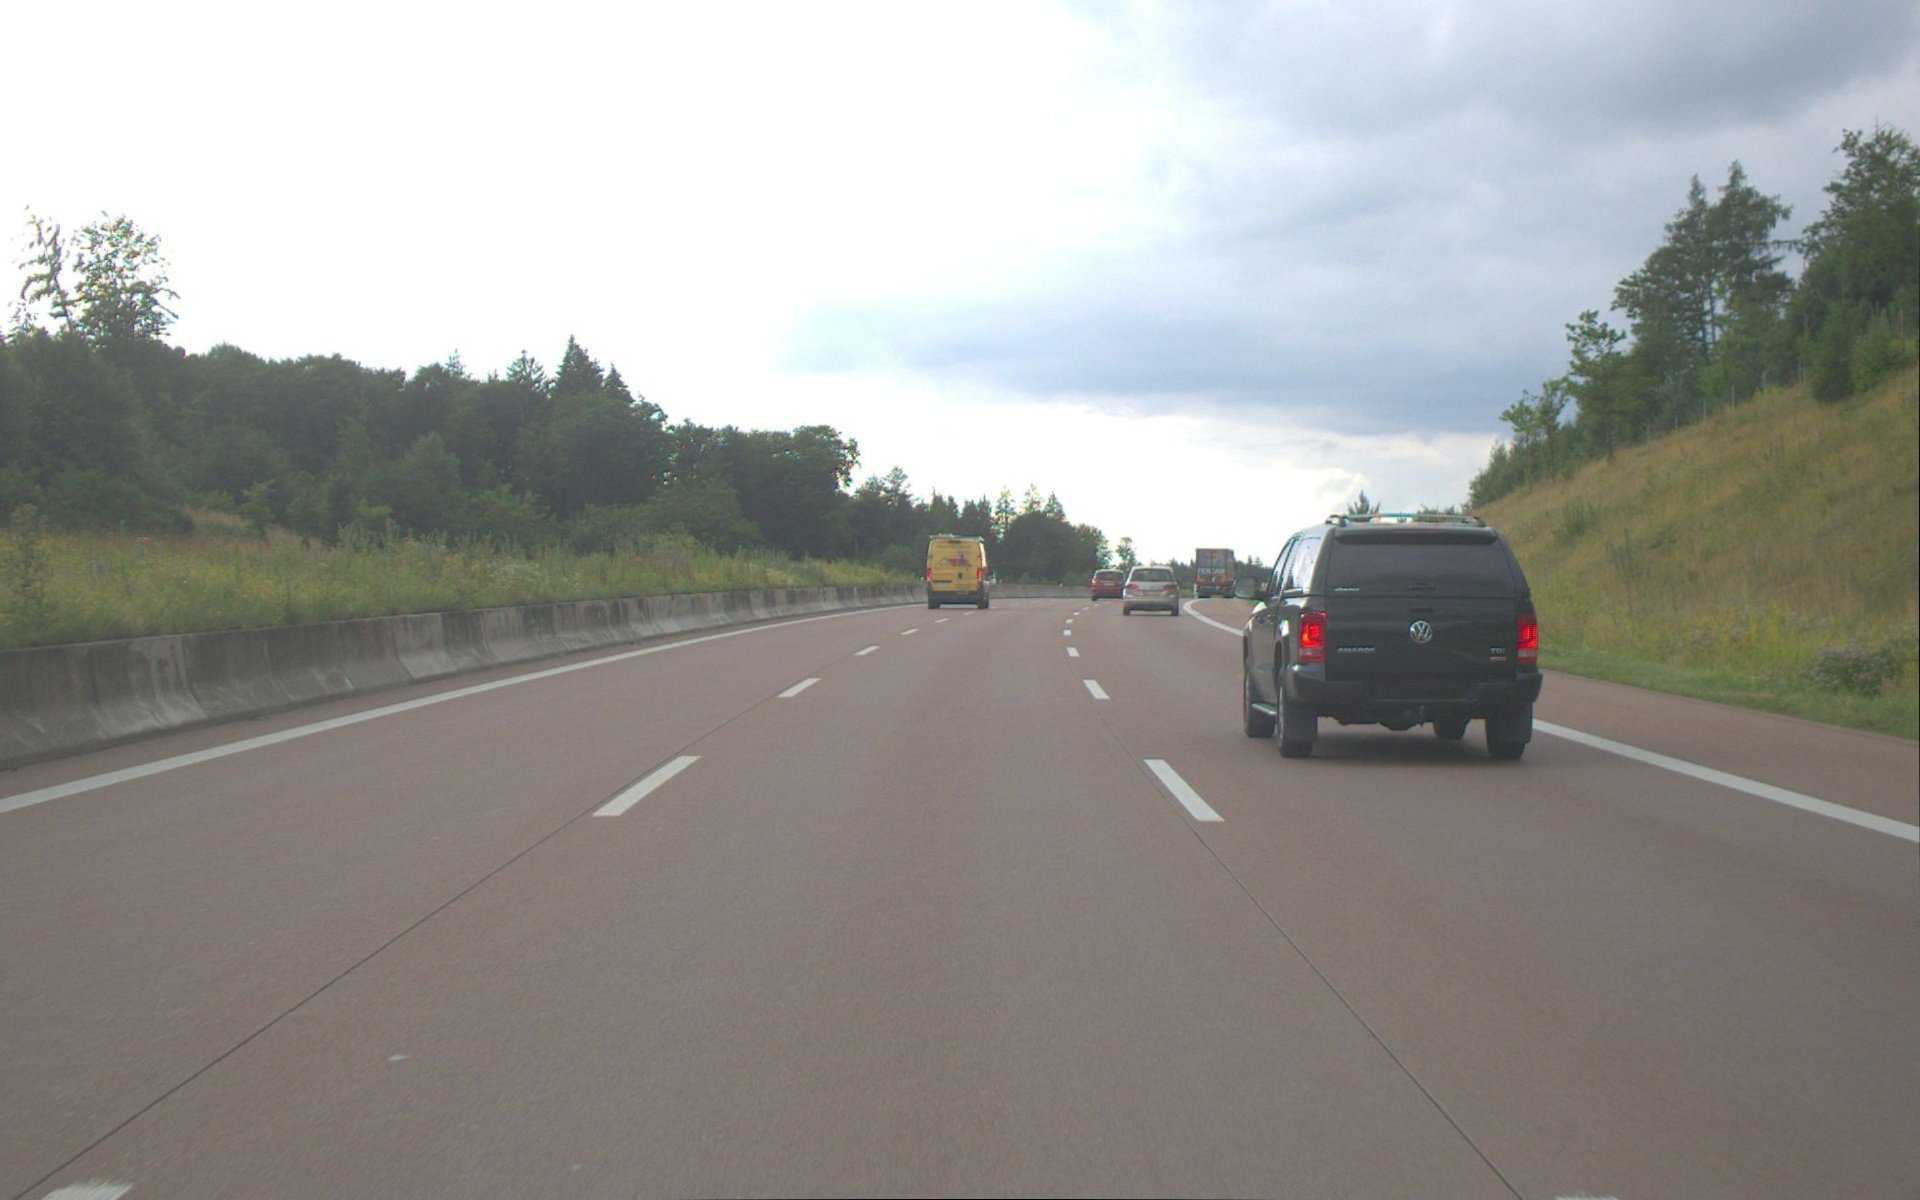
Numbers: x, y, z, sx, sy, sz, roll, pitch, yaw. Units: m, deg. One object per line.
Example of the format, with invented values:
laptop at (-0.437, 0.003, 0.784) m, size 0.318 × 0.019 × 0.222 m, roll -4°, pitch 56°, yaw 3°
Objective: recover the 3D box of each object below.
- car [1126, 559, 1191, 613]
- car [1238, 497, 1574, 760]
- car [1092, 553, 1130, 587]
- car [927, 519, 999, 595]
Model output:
car at (6.299, -0.433, 108.624) m, size 1.978 × 1.642 × 4.618 m, roll 1°, pitch 0°, yaw 4°
car at (3.448, 0.208, 27.632) m, size 2.044 × 1.890 × 5.577 m, roll 0°, pitch 0°, yaw 1°
car at (7.871, -1.550, 178.863) m, size 1.888 × 1.758 × 4.781 m, roll 0°, pitch 0°, yaw 3°
car at (0.141, -1.550, 125.849) m, size 2.458 × 2.697 × 5.613 m, roll 0°, pitch 0°, yaw 1°
